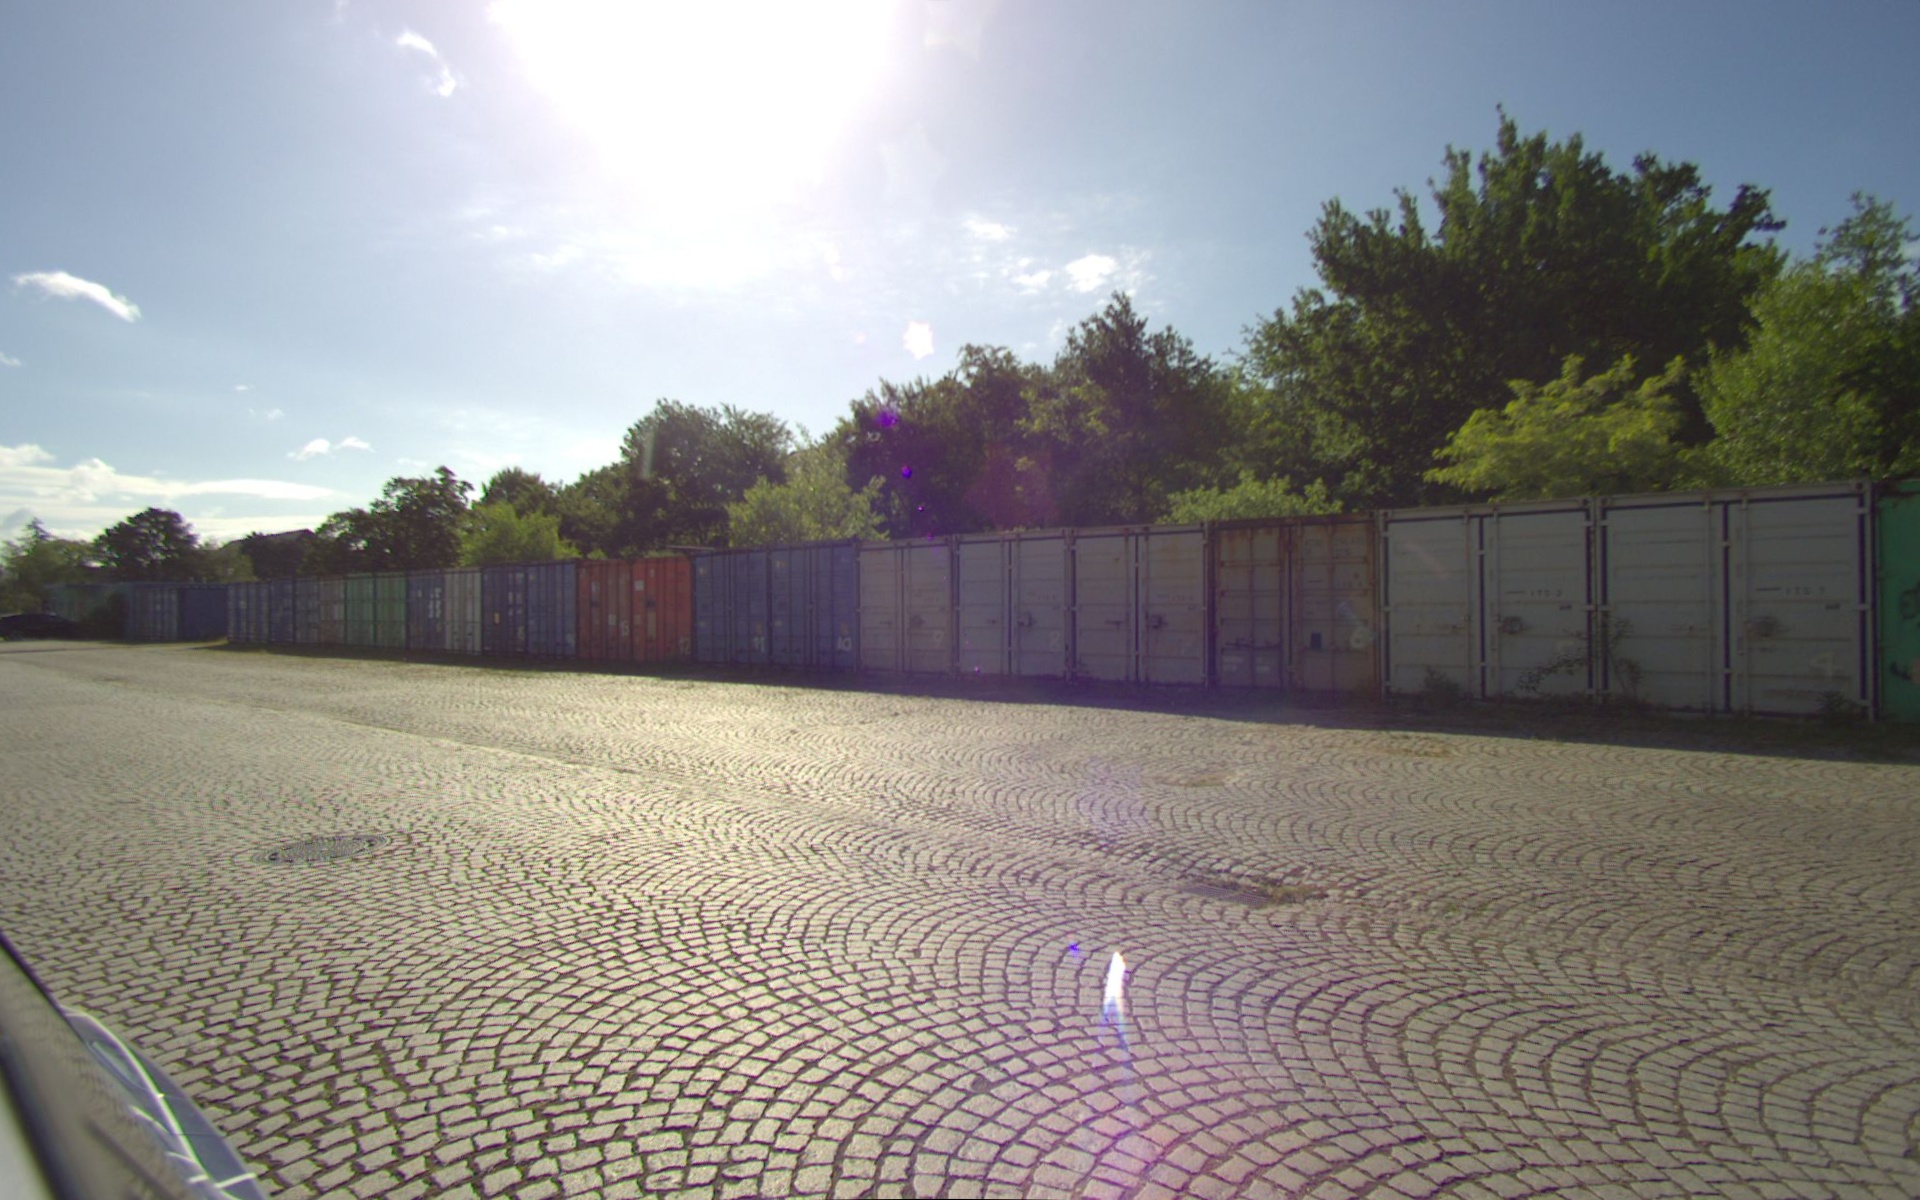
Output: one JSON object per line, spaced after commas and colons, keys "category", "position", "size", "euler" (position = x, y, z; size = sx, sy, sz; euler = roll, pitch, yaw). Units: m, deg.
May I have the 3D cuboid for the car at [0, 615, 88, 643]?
{"category": "car", "position": [-49.489, 1.533, 54.074], "size": [1.997, 1.306, 4.064], "euler": [-1, 1, 37]}
